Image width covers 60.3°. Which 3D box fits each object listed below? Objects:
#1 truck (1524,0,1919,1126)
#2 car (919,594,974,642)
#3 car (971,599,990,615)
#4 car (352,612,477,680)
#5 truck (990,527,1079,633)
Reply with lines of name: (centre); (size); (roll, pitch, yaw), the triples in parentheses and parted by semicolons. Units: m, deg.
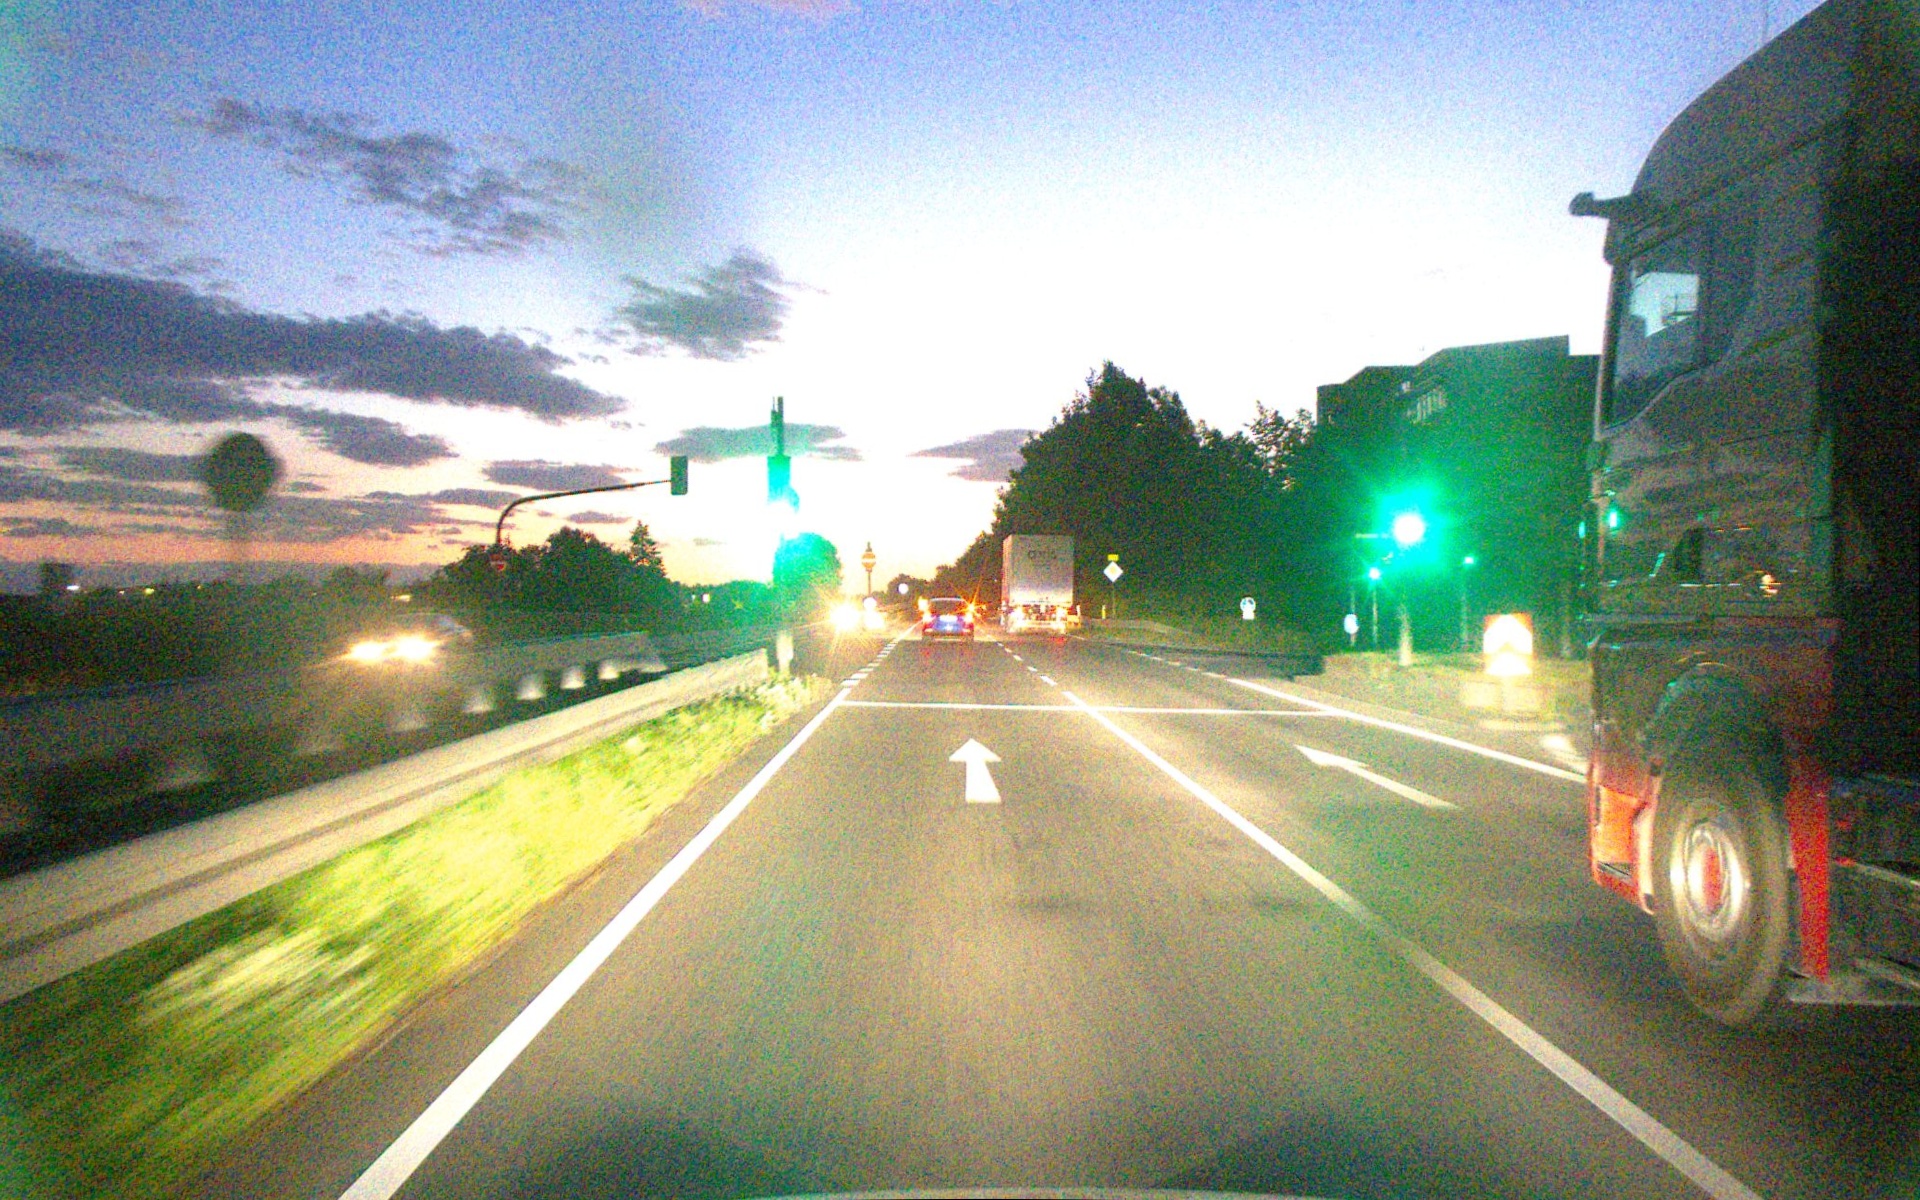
truck: (4.095, -0.577, 1.388); (2.632, 4.178, 13.139); (1, 0, -1)
car: (-0.473, 0.571, 53.838); (1.661, 1.478, 3.912); (1, 0, -2)
car: (2.021, 0.684, 160.875); (1.661, 1.478, 3.912); (1, 0, -2)
car: (-12.179, 1.000, 37.153); (1.573, 1.353, 3.938); (-2, 0, -2)
truck: (3.049, -0.794, 71.642); (2.825, 4.178, 12.678); (1, 0, -2)
